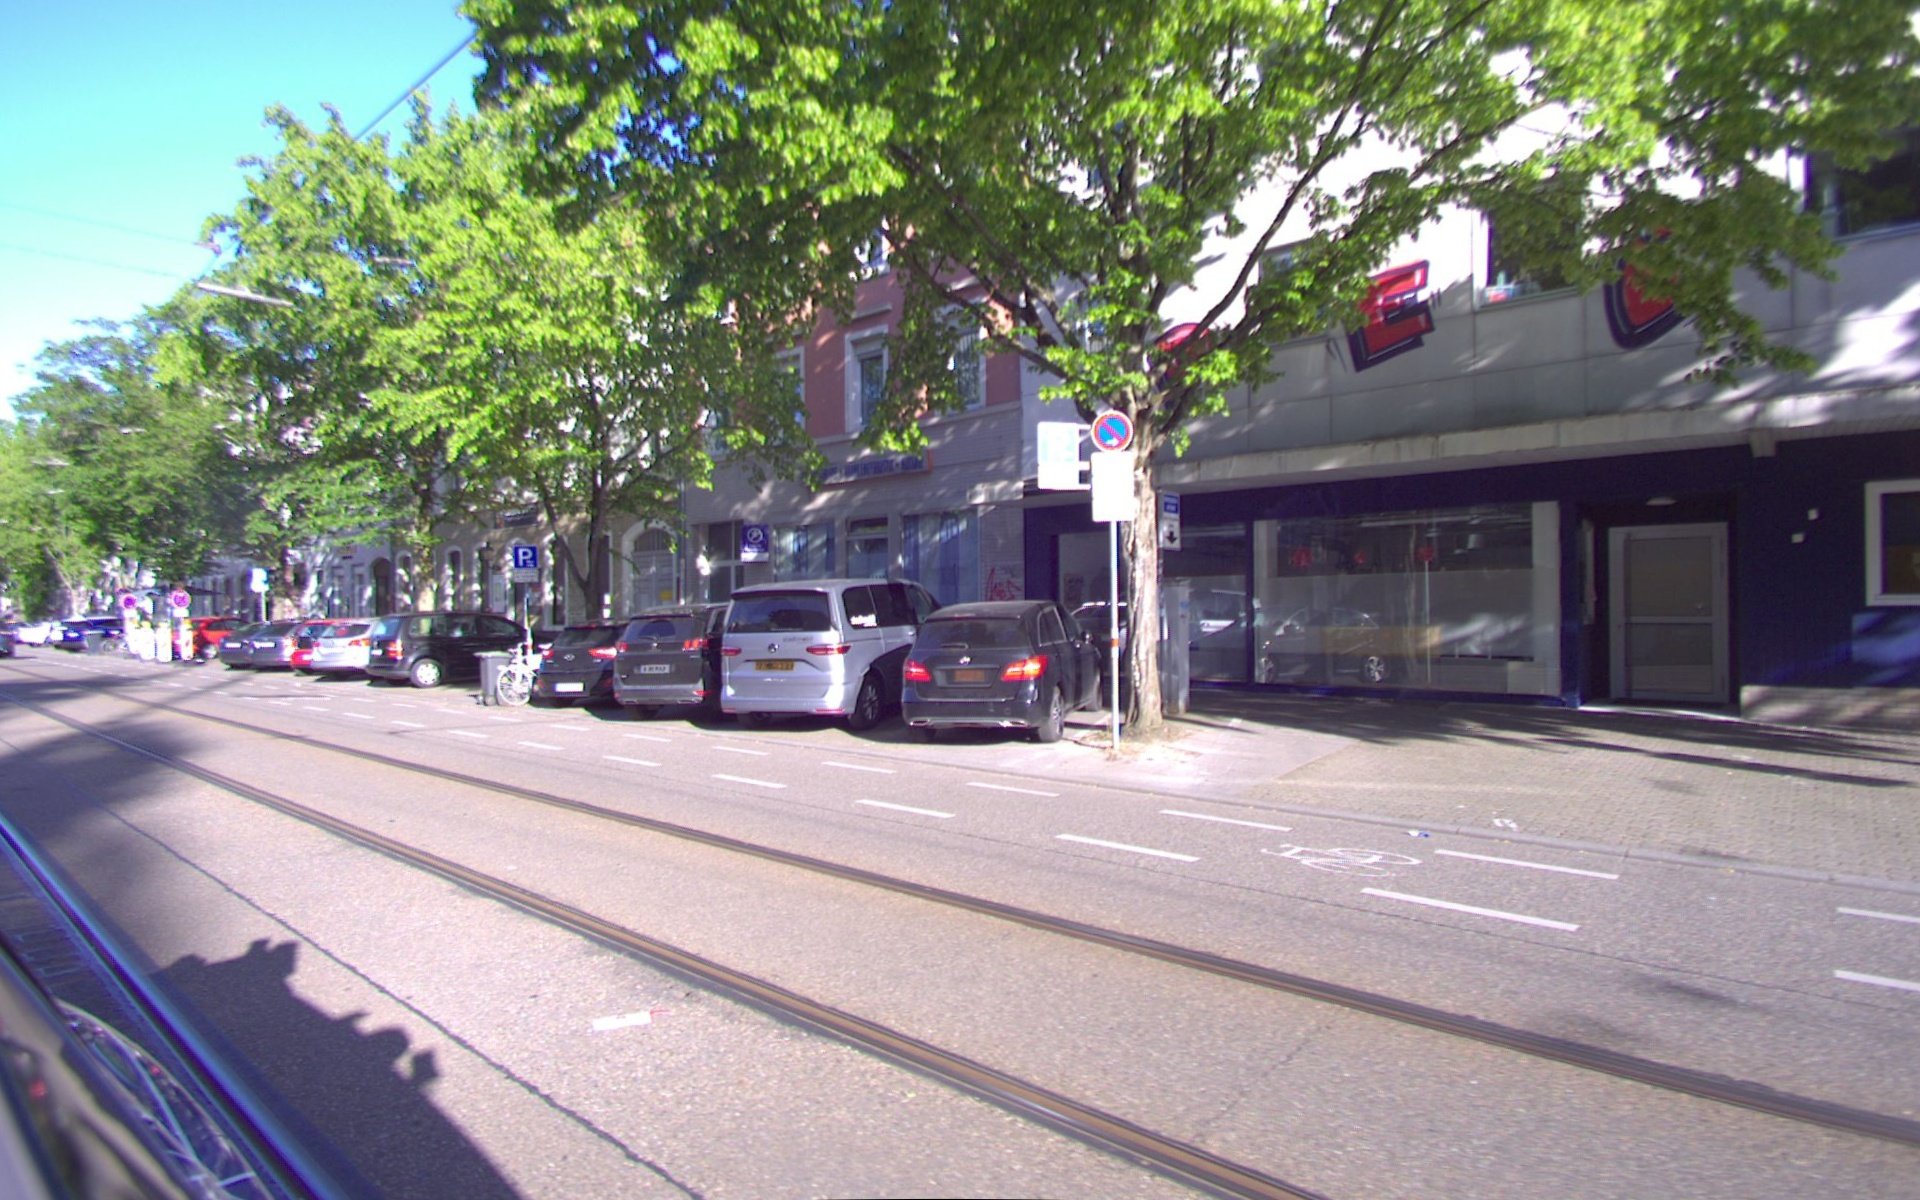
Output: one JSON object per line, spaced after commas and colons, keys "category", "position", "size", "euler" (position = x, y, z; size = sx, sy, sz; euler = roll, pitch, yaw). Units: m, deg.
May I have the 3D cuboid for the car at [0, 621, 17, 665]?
{"category": "car", "position": [-38.260, 1.670, 39.424], "size": [4.248, 1.642, 1.907], "euler": [-1, -2, 43]}

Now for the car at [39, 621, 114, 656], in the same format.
{"category": "car", "position": [-48.281, 2.098, 55.378], "size": [1.704, 1.857, 3.455], "euler": [0, -2, -15]}

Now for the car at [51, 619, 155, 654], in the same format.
{"category": "car", "position": [-41.984, 1.758, 49.678], "size": [1.554, 1.621, 3.894], "euler": [-1, -1, 7]}

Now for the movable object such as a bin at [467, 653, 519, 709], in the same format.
{"category": "movable object such as a bin", "position": [-8.195, 1.420, 17.771], "size": [0.572, 0.920, 0.572], "euler": [-3, 0, 25]}

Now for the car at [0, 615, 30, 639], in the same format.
{"category": "car", "position": [-82.599, 2.283, 85.973], "size": [2.063, 2.029, 4.898], "euler": [-1, -1, 25]}

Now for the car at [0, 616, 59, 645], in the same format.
{"category": "car", "position": [-70.568, 2.289, 75.761], "size": [2.161, 2.134, 4.393], "euler": [-2, -1, 39]}

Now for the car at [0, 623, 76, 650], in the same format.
{"category": "car", "position": [-61.619, 2.398, 67.307], "size": [1.690, 1.689, 3.972], "euler": [-1, -1, 21]}

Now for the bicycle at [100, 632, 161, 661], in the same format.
{"category": "bicycle", "position": [-35.924, 2.004, 43.859], "size": [0.568, 1.087, 1.946], "euler": [-2, 1, 43]}

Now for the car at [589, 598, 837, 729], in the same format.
{"category": "car", "position": [-3.564, 0.869, 15.478], "size": [1.795, 1.698, 4.225], "euler": [-1, -1, 17]}

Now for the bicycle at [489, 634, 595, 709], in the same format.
{"category": "bicycle", "position": [-7.432, 1.243, 18.110], "size": [0.489, 1.153, 1.957], "euler": [-1, 1, 23]}

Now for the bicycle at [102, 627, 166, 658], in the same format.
{"category": "bicycle", "position": [-34.996, 1.798, 42.911], "size": [0.567, 1.095, 1.981], "euler": [-2, 3, 43]}

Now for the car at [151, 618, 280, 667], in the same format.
{"category": "car", "position": [-27.535, 1.547, 37.569], "size": [1.653, 1.565, 3.607], "euler": [-3, 0, 15]}

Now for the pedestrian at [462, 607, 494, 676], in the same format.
{"category": "pedestrian", "position": [-14.382, 1.224, 30.205], "size": [0.556, 2.029, 0.723], "euler": [-2, -2, 42]}

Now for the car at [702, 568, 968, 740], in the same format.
{"category": "car", "position": [-1.516, 0.600, 14.128], "size": [1.934, 2.001, 4.340], "euler": [-1, 1, 19]}

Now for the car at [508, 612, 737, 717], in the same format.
{"category": "car", "position": [-5.730, 1.028, 17.699], "size": [1.829, 1.487, 3.845], "euler": [-1, 1, 19]}

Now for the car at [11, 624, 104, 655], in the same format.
{"category": "car", "position": [-53.029, 2.278, 59.519], "size": [1.873, 1.541, 3.622], "euler": [-1, 2, 21]}

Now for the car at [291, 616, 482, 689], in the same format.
{"category": "car", "position": [-14.250, 1.256, 25.442], "size": [1.824, 1.524, 4.098], "euler": [-2, 0, 15]}

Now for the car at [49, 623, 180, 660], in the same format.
{"category": "car", "position": [-44.374, 2.150, 53.284], "size": [2.191, 1.808, 4.910], "euler": [-1, -1, 19]}

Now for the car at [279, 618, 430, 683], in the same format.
{"category": "car", "position": [-16.314, 1.326, 27.452], "size": [1.597, 1.504, 3.360], "euler": [-2, 0, 13]}

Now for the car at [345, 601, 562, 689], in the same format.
{"category": "car", "position": [-11.577, 0.955, 23.351], "size": [1.839, 1.690, 4.064], "euler": [-1, 1, 39]}

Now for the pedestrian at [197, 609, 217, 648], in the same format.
{"category": "pedestrian", "position": [-36.204, 1.375, 48.659], "size": [0.624, 1.852, 0.636], "euler": [-2, -2, 43]}

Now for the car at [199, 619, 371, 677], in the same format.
{"category": "car", "position": [-20.538, 1.428, 31.027], "size": [1.925, 1.502, 4.184], "euler": [-2, 0, 14]}

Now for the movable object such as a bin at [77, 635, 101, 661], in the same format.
{"category": "movable object such as a bin", "position": [-38.296, 2.114, 44.481], "size": [0.710, 1.086, 0.676], "euler": [-2, 1, 43]}

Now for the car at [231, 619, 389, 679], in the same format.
{"category": "car", "position": [-18.651, 1.372, 29.240], "size": [1.735, 1.481, 3.670], "euler": [-1, 1, 12]}

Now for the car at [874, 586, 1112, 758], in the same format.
{"category": "car", "position": [0.624, 0.720, 12.625], "size": [1.895, 1.679, 4.273], "euler": [-1, 1, 17]}
